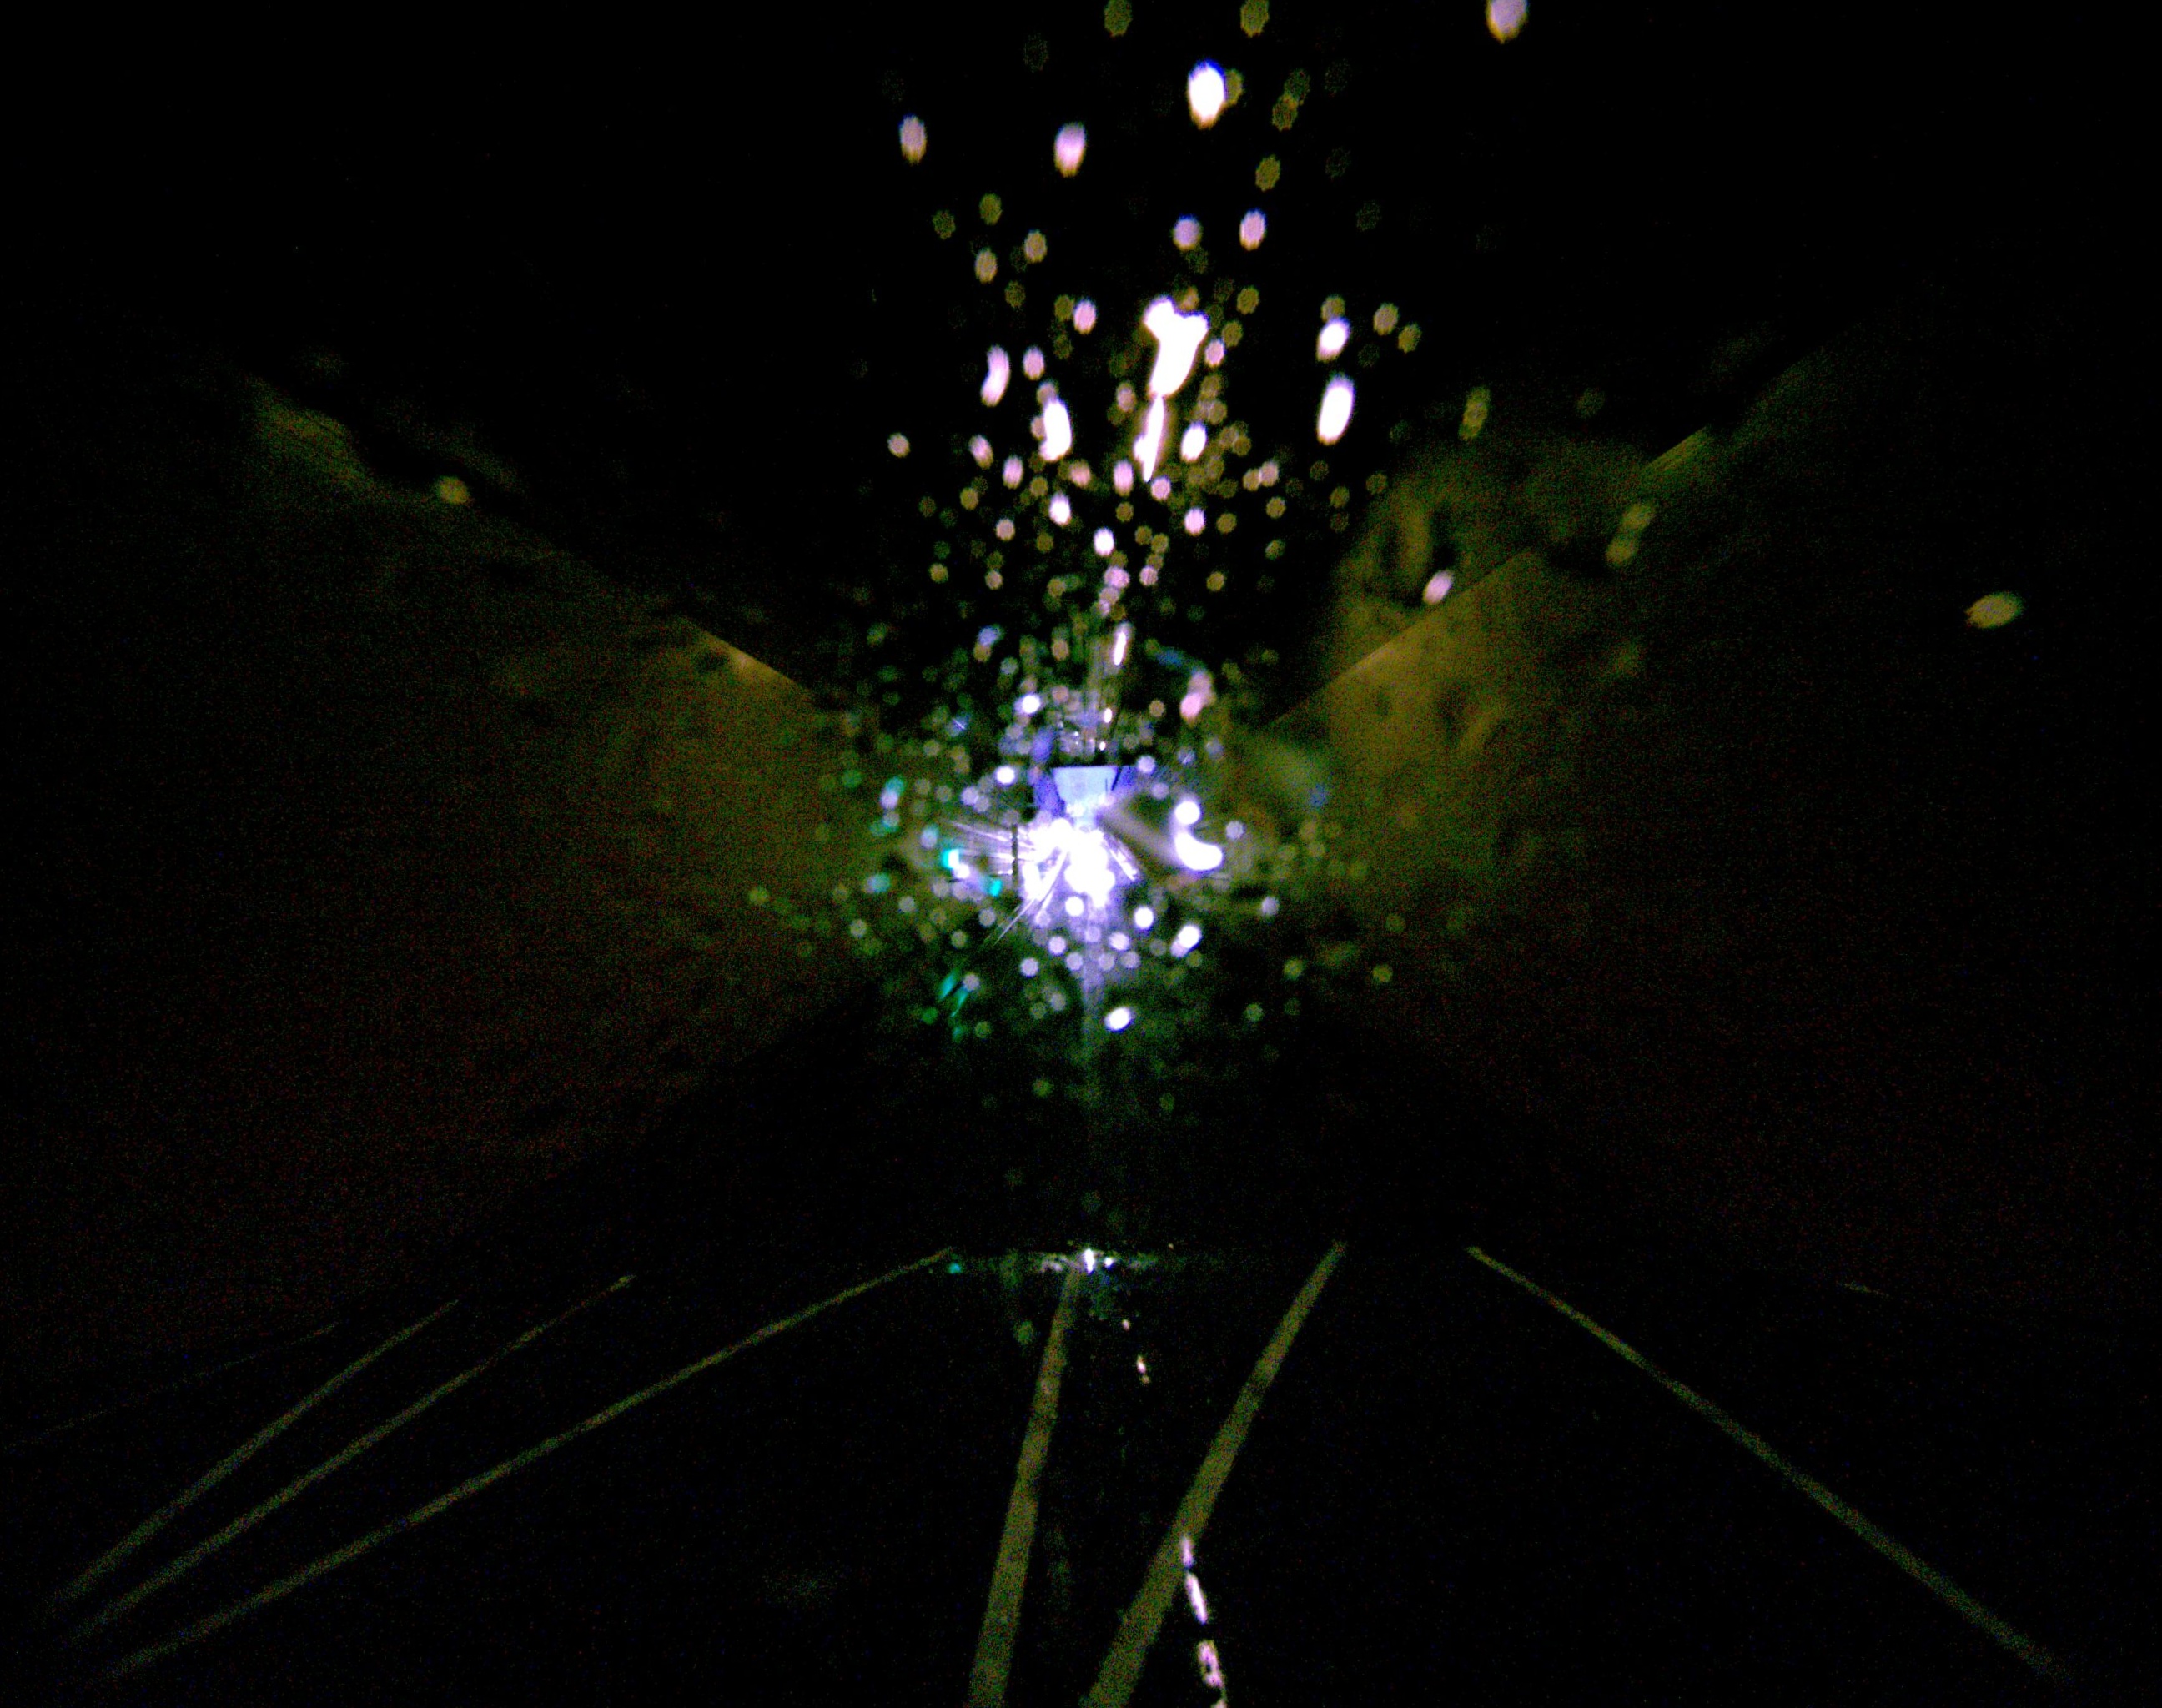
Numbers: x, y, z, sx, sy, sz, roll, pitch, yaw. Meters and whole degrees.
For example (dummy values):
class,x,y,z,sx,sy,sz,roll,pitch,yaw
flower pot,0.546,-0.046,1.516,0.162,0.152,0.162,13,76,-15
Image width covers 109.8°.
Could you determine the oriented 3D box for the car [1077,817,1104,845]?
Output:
class,x,y,z,sx,sy,sz,roll,pitch,yaw
car,0.809,-1.874,62.390,2.030,2.017,4.425,-2,-1,1
